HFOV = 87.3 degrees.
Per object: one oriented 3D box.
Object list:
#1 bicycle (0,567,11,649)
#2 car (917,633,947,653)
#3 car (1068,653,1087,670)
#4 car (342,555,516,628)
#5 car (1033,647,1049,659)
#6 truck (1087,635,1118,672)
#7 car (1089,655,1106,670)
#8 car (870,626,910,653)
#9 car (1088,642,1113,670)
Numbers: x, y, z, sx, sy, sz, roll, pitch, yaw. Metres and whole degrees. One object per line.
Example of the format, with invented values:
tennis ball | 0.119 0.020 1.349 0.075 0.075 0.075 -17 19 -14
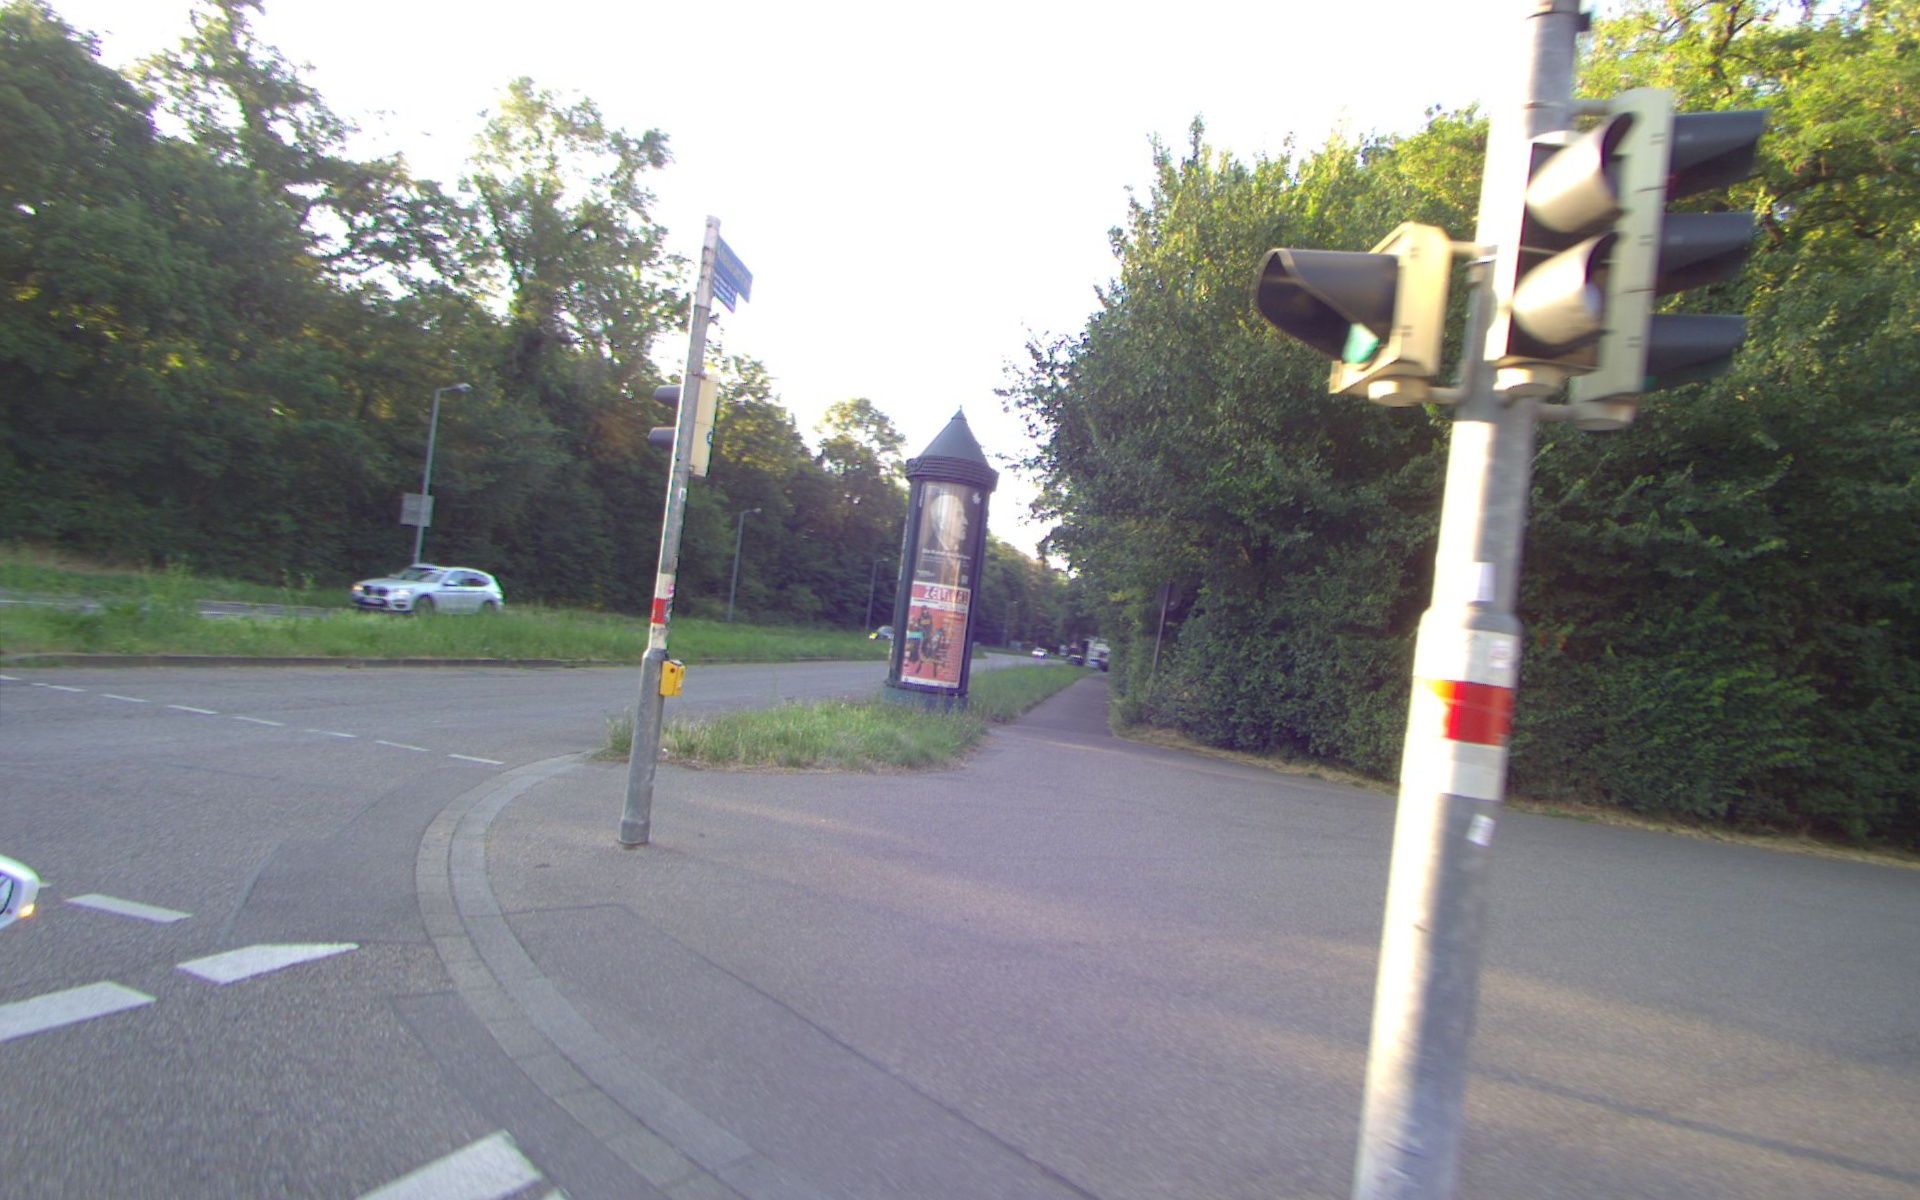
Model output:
bicycle | -8.674 0.125 7.976 1.768 1.026 0.566 7 -1 6
car | -2.747 4.298 99.873 1.962 1.646 4.658 6 -2 9
car | 10.827 5.625 92.900 1.576 1.347 2.997 7 -2 6
car | -15.183 -0.168 29.107 1.792 1.632 4.647 5 -3 12
car | 12.312 8.038 152.988 1.962 1.473 3.819 6 -4 11
truck | 18.124 6.823 127.286 2.616 4.073 9.735 8 -2 13
car | 15.405 7.011 112.712 1.671 1.422 4.081 7 -2 10
car | -4.870 2.836 70.790 1.785 1.646 4.457 5 -2 9
car | 16.649 6.655 118.575 2.370 2.890 5.941 8 -2 10
